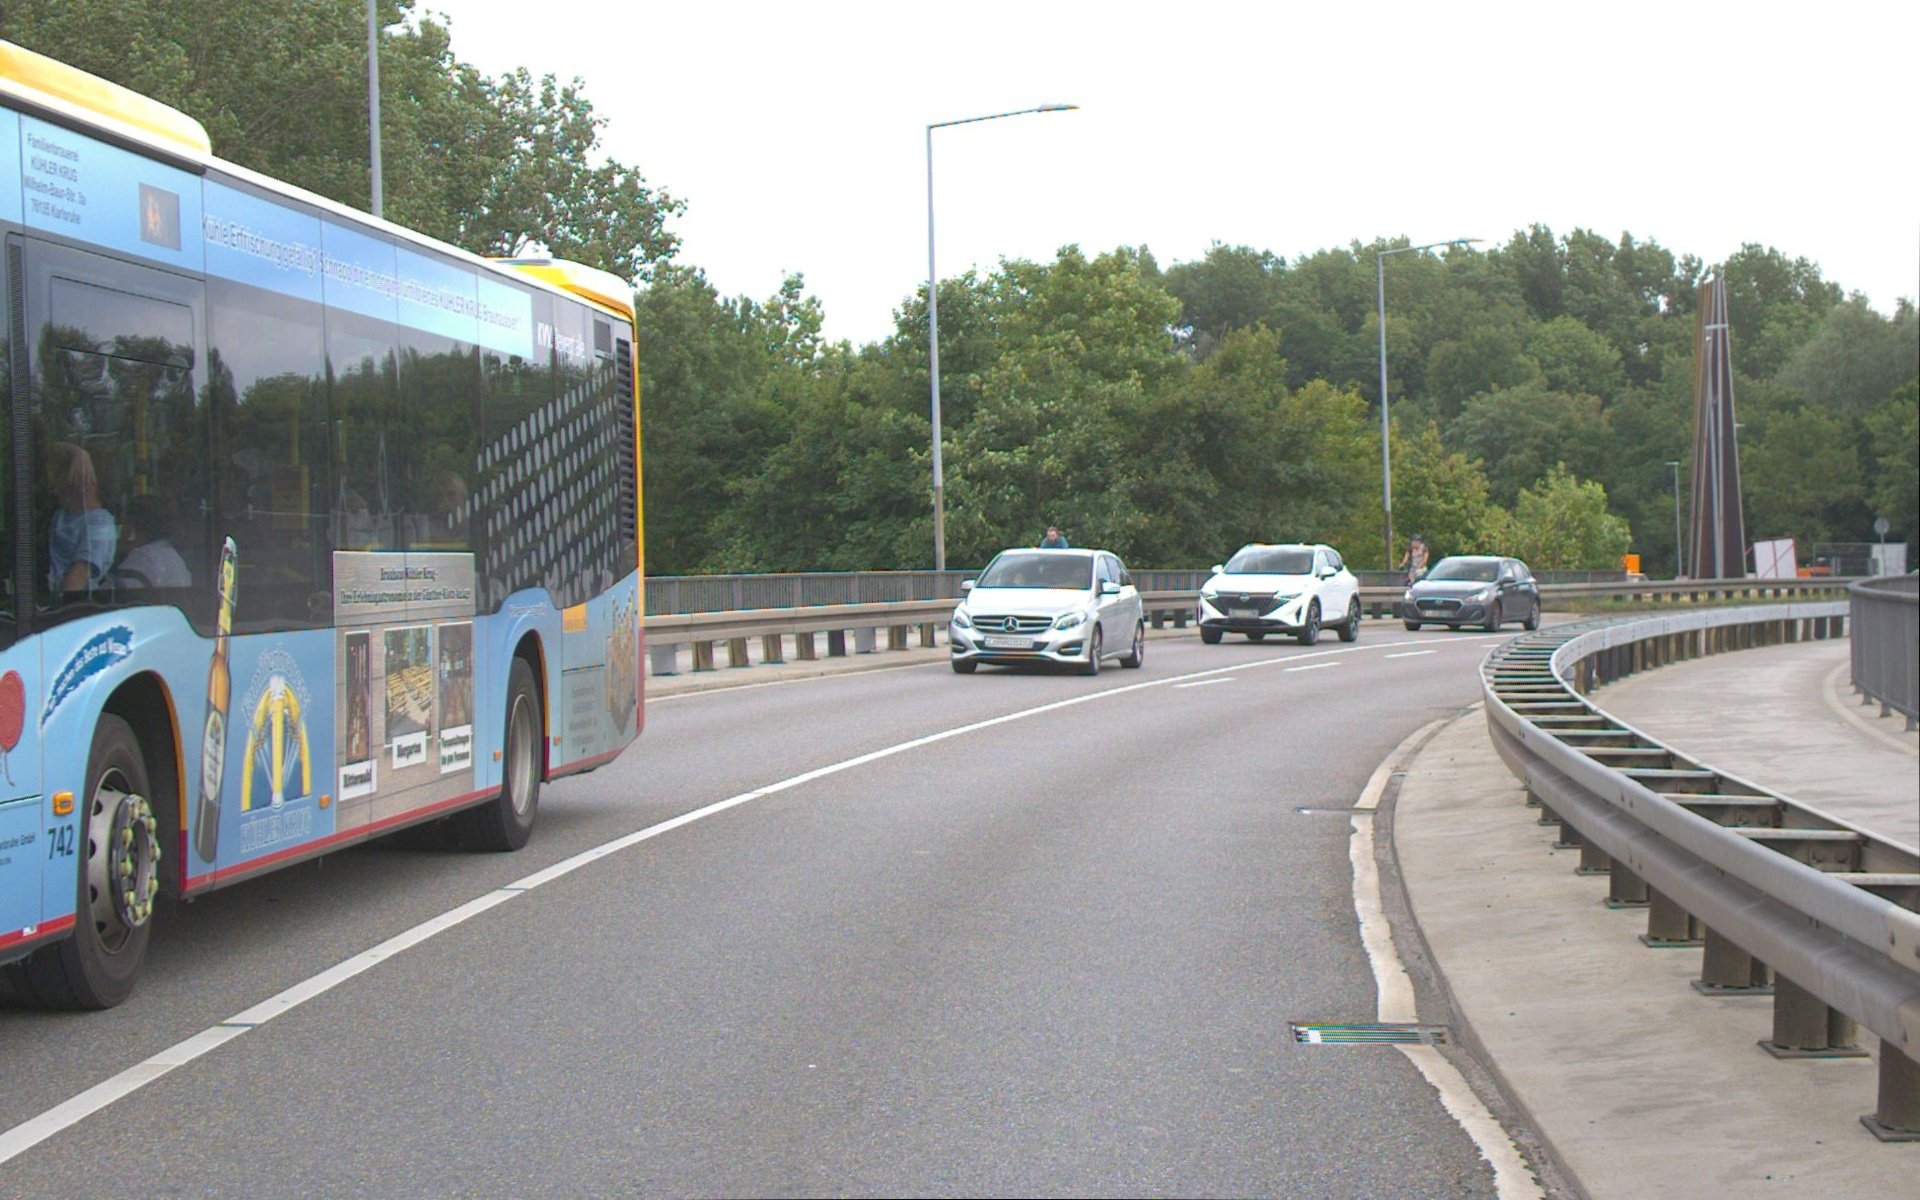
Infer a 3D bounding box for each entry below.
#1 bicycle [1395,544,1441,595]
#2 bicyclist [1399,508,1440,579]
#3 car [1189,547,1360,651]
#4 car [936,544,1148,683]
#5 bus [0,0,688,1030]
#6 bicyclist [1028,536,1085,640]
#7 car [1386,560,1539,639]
[{"bbox_3d":[10.623,-0.701,79.664,0.635,1.170,1.904,1,0,20],"label":"bicycle"},{"bbox_3d":[10.657,-1.305,79.660,0.772,1.626,0.648,1,-1,23],"label":"bicyclist"},{"bbox_3d":[5.172,-0.024,55.975,1.942,1.588,4.770,1,0,16],"label":"car"},{"bbox_3d":[1.088,0.154,43.025,1.819,1.615,4.395,1,0,12],"label":"car"},{"bbox_3d":[-3.770,-0.431,14.638,3.032,3.222,12.948,1,0,5],"label":"bus"},{"bbox_3d":[1.693,-0.216,60.315,0.849,1.802,0.796,1,0,13],"label":"bicyclist"},{"bbox_3d":[9.821,-0.002,66.950,1.811,1.472,4.377,1,0,24],"label":"car"}]
